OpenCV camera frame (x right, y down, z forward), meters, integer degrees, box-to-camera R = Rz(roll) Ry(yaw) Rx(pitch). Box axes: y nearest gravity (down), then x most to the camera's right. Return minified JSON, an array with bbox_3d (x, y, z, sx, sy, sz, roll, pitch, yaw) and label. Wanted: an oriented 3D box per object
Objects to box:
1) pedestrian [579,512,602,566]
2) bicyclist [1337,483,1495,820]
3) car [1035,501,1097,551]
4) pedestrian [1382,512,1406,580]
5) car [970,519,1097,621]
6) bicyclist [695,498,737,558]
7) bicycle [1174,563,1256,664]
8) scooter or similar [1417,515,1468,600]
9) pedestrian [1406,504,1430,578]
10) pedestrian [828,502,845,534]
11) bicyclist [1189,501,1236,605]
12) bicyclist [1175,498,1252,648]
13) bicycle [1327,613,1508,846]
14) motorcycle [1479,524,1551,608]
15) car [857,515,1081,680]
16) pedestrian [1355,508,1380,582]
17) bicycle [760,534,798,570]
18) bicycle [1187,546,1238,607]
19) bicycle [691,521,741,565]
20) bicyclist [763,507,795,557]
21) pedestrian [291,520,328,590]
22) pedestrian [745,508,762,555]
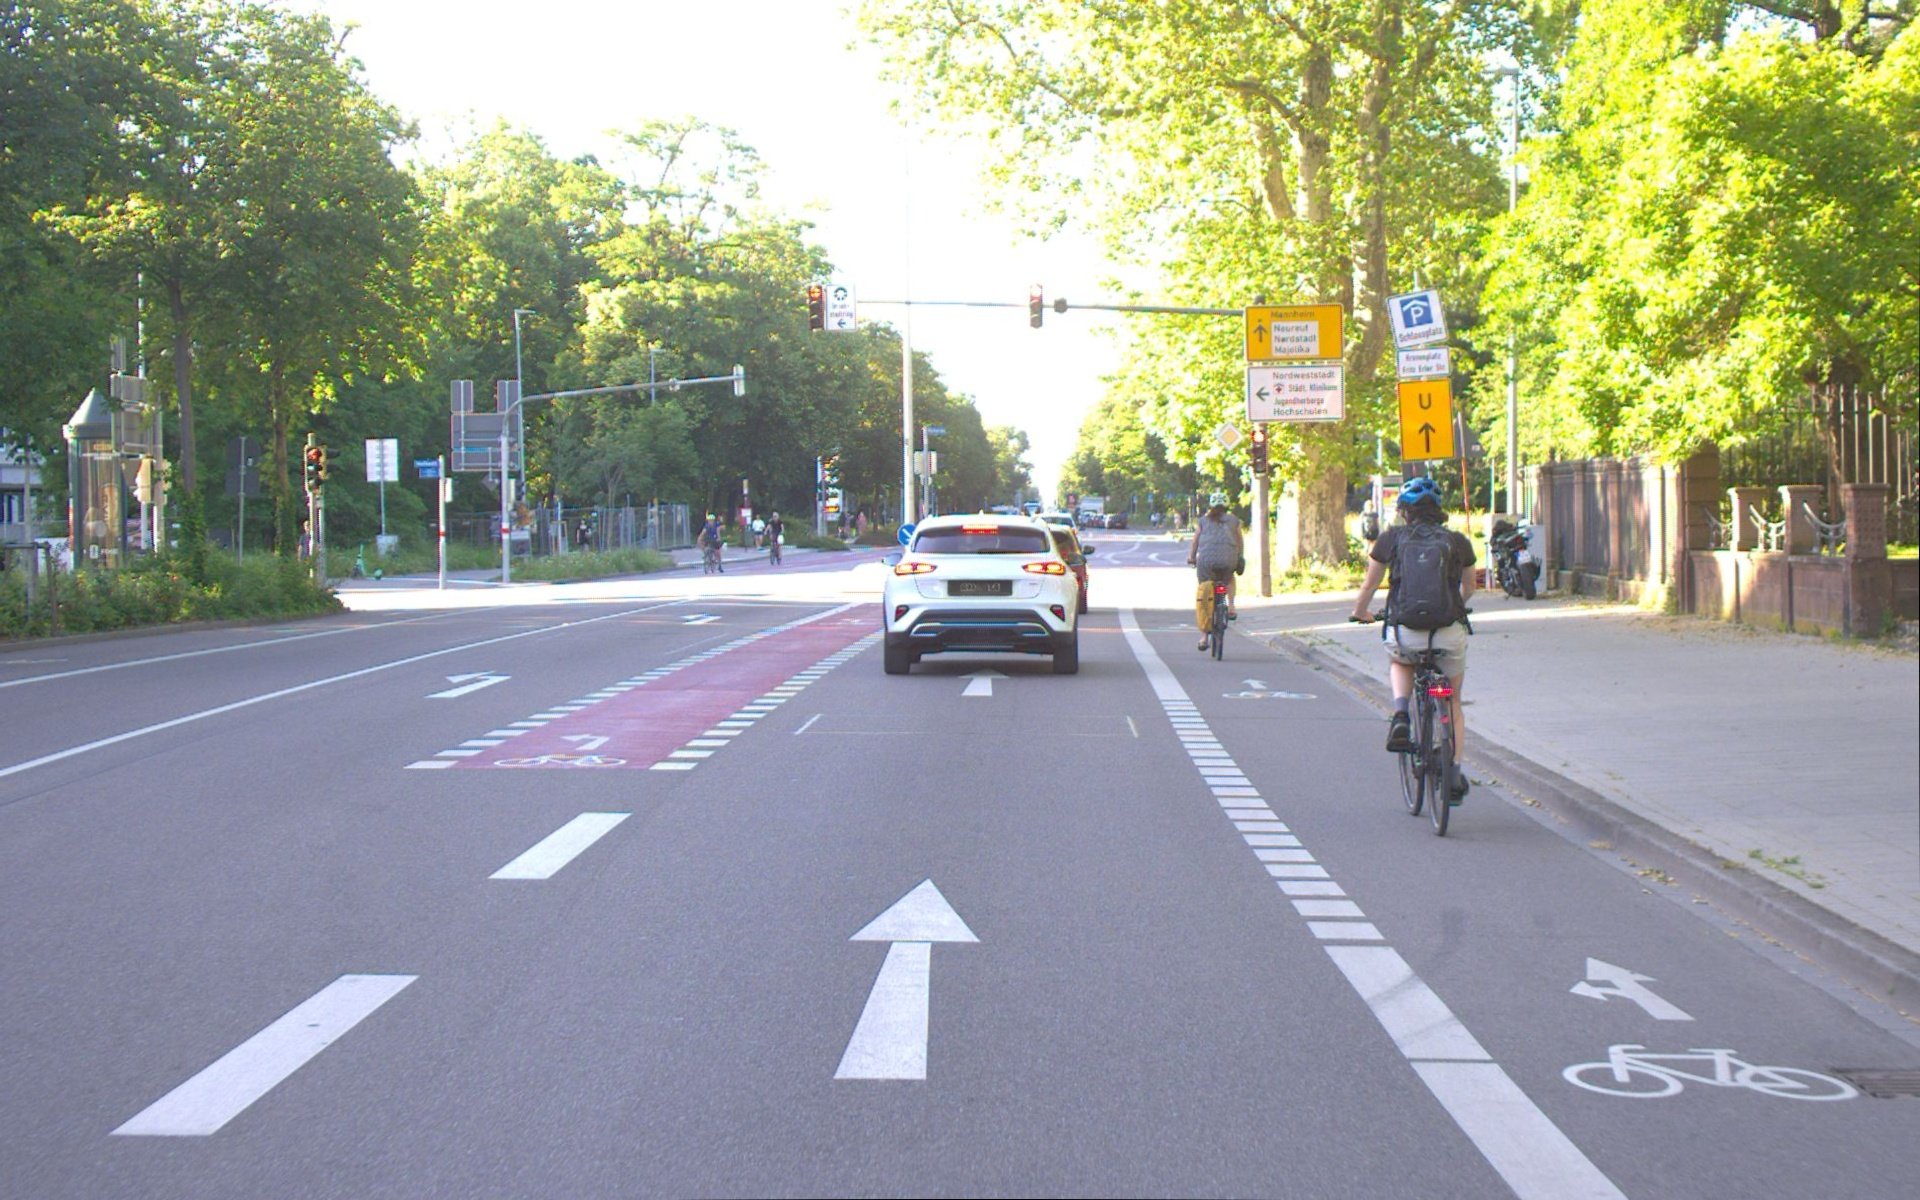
[{"bbox_3d":[-13.167,-2.184,122.638,0.651,1.881,0.662,-1,1,4],"label":"pedestrian"},{"bbox_3d":[2.247,0.229,17.057,0.636,1.608,1.284,0,1,1],"label":"bicyclist"},{"bbox_3d":[3.418,-2.396,110.601,1.737,1.541,4.000,-1,2,5],"label":"car"},{"bbox_3d":[10.722,-1.331,84.859,0.482,1.634,0.432,-4,4,8],"label":"pedestrian"},{"bbox_3d":[1.182,-0.515,55.340,1.929,1.528,4.000,-1,1,1],"label":"car"},{"bbox_3d":[-7.345,-2.170,103.427,1.092,1.748,1.097,-1,1,4],"label":"bicyclist"},{"bbox_3d":[2.640,0.125,35.727,0.753,1.022,1.869,0,1,1],"label":"bicycle"},{"bbox_3d":[8.033,-0.720,57.324,0.566,1.378,1.856,-1,1,0],"label":"scooter or similar"},{"bbox_3d":[11.374,-1.460,85.432,0.482,1.786,0.432,-4,4,8],"label":"pedestrian"},{"bbox_3d":[-8.305,-5.539,231.301,0.876,2.142,1.103,-1,1,11],"label":"pedestrian"},{"bbox_3d":[4.284,-0.803,58.376,0.749,1.744,0.843,0,1,1],"label":"bicyclist"},{"bbox_3d":[2.637,-0.288,35.787,0.747,1.532,0.969,0,1,1],"label":"bicyclist"},{"bbox_3d":[2.256,0.608,17.175,0.643,1.021,2.212,1,1,1],"label":"bicycle"},{"bbox_3d":[8.146,-0.516,50.543,0.662,1.163,2.327,-3,1,1],"label":"motorcycle"},{"bbox_3d":[0.133,-0.071,33.133,1.993,1.448,4.000,-1,1,1],"label":"car"},{"bbox_3d":[10.040,-1.358,84.727,0.482,1.786,0.432,-4,4,8],"label":"pedestrian"},{"bbox_3d":[-6.244,-1.673,118.569,0.964,1.177,2.951,-1,1,4],"label":"bicycle"},{"bbox_3d":[4.286,-0.401,58.444,0.753,1.022,1.869,0,1,1],"label":"bicycle"},{"bbox_3d":[-7.336,-1.725,103.503,1.102,1.250,2.779,-1,1,4],"label":"bicycle"},{"bbox_3d":[-6.252,-2.343,118.706,0.956,1.699,1.232,-1,1,3],"label":"bicyclist"},{"bbox_3d":[-17.127,-1.185,90.576,0.687,1.786,0.769,-4,2,1],"label":"pedestrian"},{"bbox_3d":[-8.900,-2.954,148.027,0.656,2.007,0.832,-1,1,0],"label":"pedestrian"}]
